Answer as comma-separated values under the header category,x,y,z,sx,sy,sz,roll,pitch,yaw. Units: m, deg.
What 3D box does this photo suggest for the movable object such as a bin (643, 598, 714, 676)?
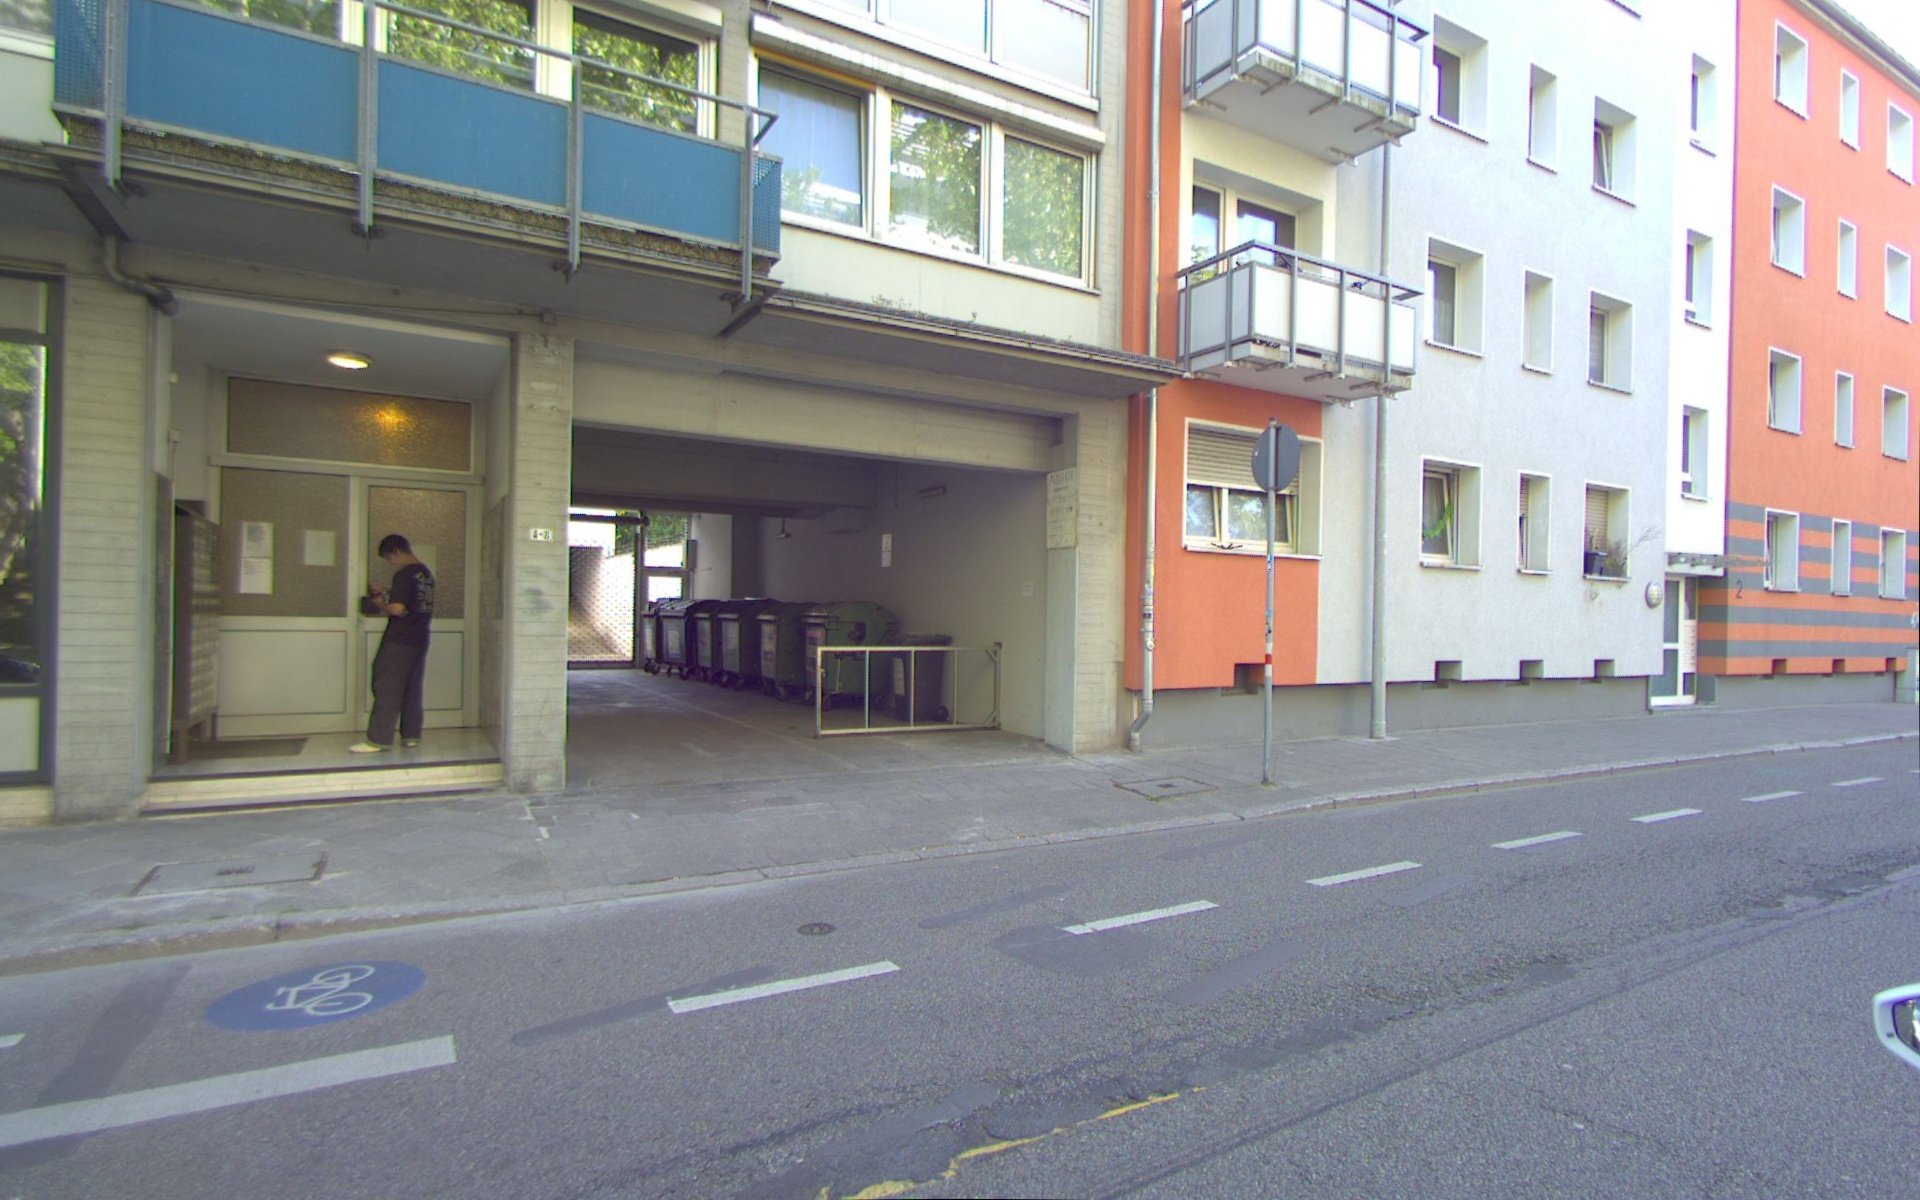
category,x,y,z,sx,sy,sz,roll,pitch,yaw
movable object such as a bin,-5.604,0.716,19.988,1.167,1.503,0.819,1,0,-30

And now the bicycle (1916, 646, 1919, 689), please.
category,x,y,z,sx,sy,sz,roll,pitch,yaw
bicycle,24.941,1.733,24.850,0.848,1.093,1.836,1,-1,0

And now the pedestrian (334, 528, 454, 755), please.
category,x,y,z,sx,sy,sz,roll,pitch,yaw
pedestrian,-4.523,0.318,8.058,0.537,1.736,0.662,1,0,3

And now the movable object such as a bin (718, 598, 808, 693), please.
category,x,y,z,sx,sy,sz,roll,pitch,yaw
movable object such as a bin,-3.270,0.732,16.638,1.167,1.503,1.073,1,0,-30

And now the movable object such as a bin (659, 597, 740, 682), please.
category,x,y,z,sx,sy,sz,roll,pitch,yaw
movable object such as a bin,-4.866,0.718,18.701,1.167,1.503,1.215,1,0,-30

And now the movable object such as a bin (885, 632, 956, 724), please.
category,x,y,z,sx,sy,sz,roll,pitch,yaw
movable object such as a bin,-0.490,0.948,12.463,0.687,1.094,0.579,1,0,-30

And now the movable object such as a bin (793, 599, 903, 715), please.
category,x,y,z,sx,sy,sz,roll,pitch,yaw
movable object such as a bin,-1.550,0.747,13.791,1.086,1.503,1.251,1,0,-30

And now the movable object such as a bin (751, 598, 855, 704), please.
category,x,y,z,sx,sy,sz,roll,pitch,yaw
movable object such as a bin,-2.388,0.739,15.162,1.167,1.503,1.252,1,0,-30

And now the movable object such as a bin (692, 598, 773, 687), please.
category,x,y,z,sx,sy,sz,roll,pitch,yaw
movable object such as a bin,-4.004,0.730,17.655,1.080,1.503,1.159,1,0,-30
